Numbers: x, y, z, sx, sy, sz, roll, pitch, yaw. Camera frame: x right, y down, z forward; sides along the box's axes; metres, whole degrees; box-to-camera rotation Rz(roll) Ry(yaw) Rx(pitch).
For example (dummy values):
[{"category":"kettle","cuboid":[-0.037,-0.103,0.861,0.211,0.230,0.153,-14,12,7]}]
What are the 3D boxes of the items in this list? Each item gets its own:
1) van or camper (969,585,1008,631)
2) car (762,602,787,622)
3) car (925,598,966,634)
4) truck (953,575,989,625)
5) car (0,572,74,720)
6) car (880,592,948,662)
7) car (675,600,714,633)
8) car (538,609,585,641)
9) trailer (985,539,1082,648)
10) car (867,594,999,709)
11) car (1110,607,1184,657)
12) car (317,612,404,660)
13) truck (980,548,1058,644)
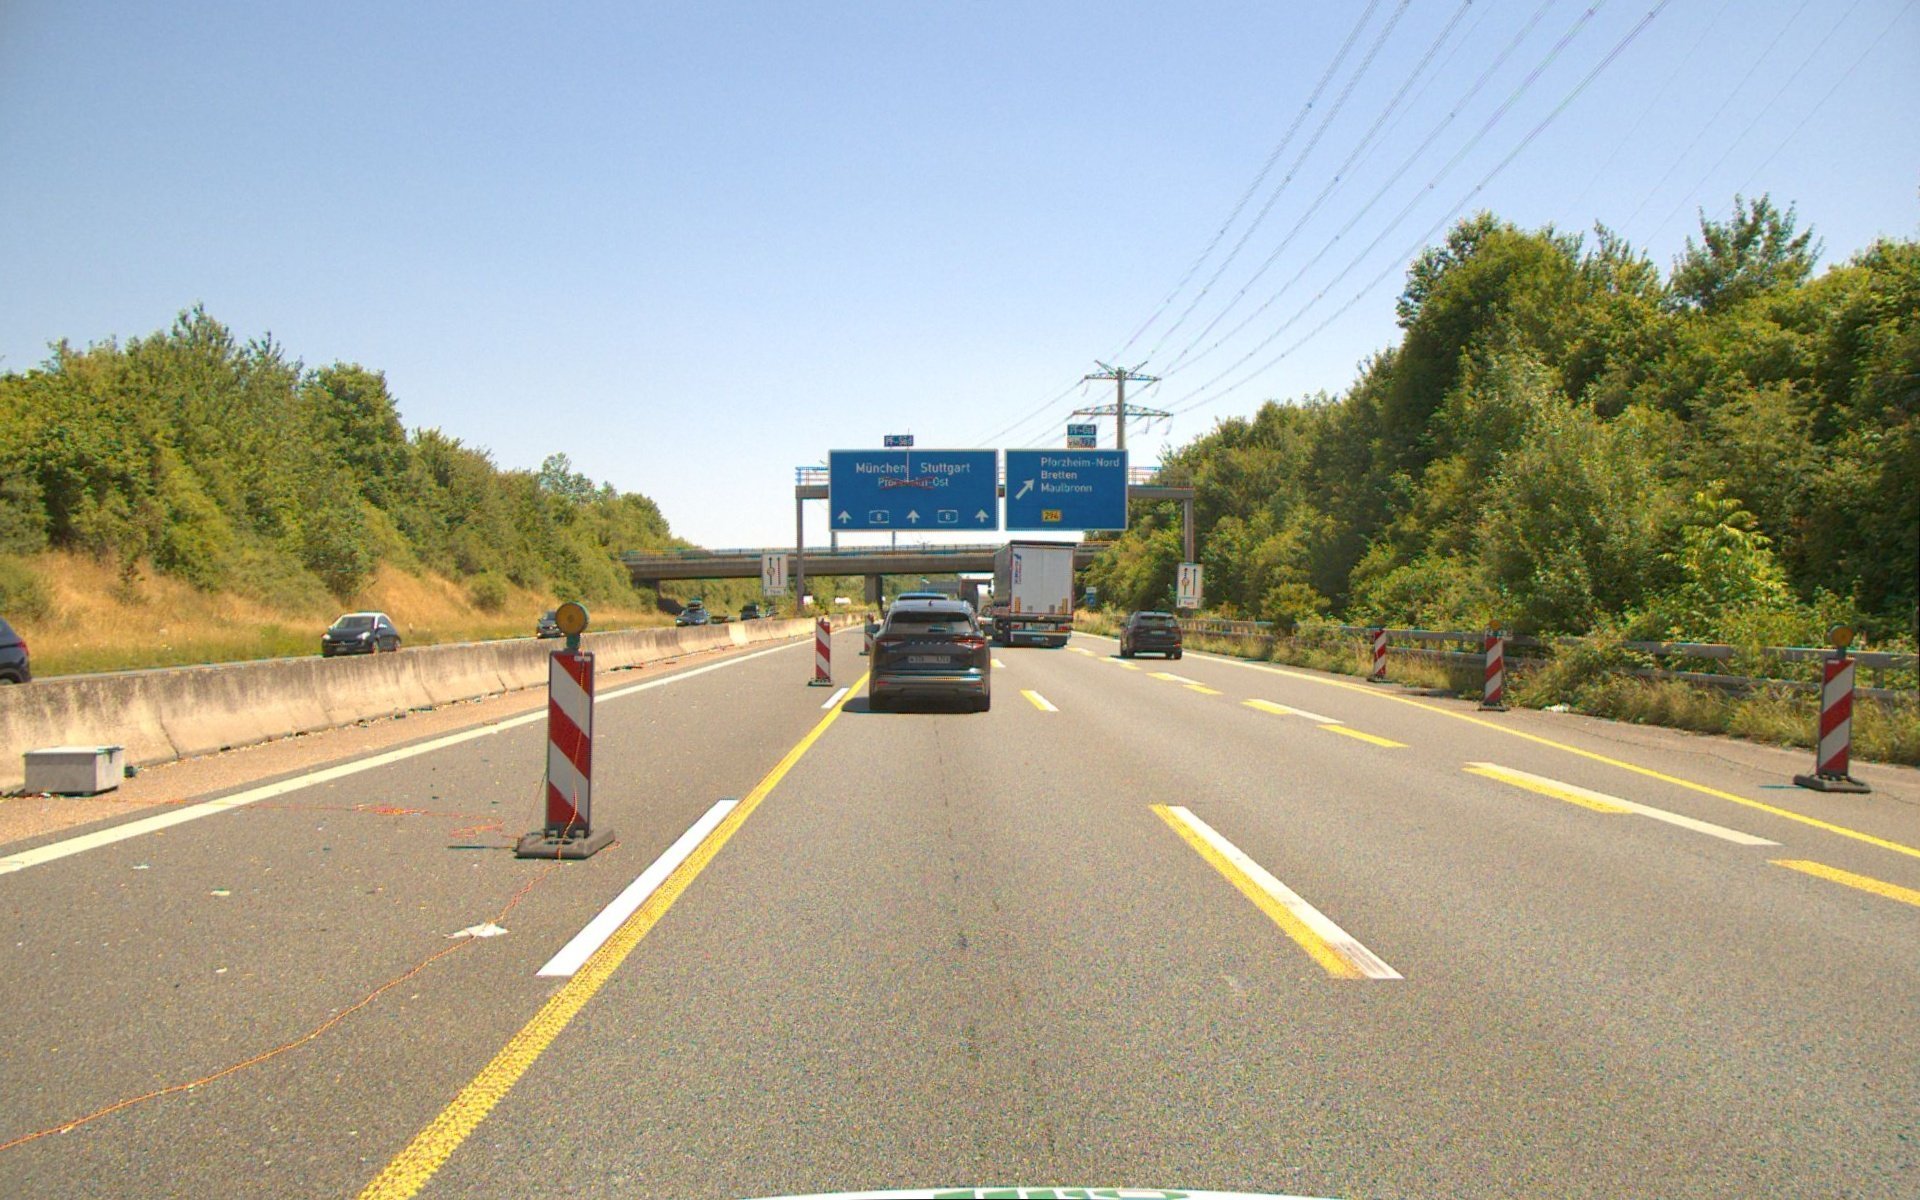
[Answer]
[{"category":"van or camper","cuboid":[1.907,0.512,113.817,2.533,3.020,6.084,2,0,0]},{"category":"car","cuboid":[-17.462,1.144,156.049,1.874,1.784,4.564,1,0,-1]},{"category":"car","cuboid":[-0.761,0.789,82.377,1.857,1.535,4.441,3,2,-2]},{"category":"truck","cuboid":[0.937,0.056,149.768,3.015,4.219,13.053,1,0,0]},{"category":"car","cuboid":[-11.516,0.516,17.415,1.953,1.628,4.581,-1,0,-1]},{"category":"car","cuboid":[-1.409,0.818,50.121,1.858,1.873,4.440,4,-1,-2]},{"category":"car","cuboid":[-15.527,0.963,96.881,1.707,1.850,4.620,0,0,-3]},{"category":"car","cuboid":[-20.271,1.262,84.259,1.469,1.575,3.999,0,0,-1]},{"category":"trailer","cuboid":[2.894,-0.242,68.836,3.004,4.113,11.481,1,0,-2]},{"category":"car","cuboid":[-0.455,0.716,25.569,1.857,1.620,4.441,0,0,-2]},{"category":"car","cuboid":[6.018,1.010,53.677,1.743,1.515,4.462,2,0,-1]},{"category":"car","cuboid":[-19.767,1.165,54.681,1.542,1.490,3.778,0,0,-1]},{"category":"truck","cuboid":[2.625,-0.176,75.793,2.964,4.159,7.791,1,0,-2]}]
